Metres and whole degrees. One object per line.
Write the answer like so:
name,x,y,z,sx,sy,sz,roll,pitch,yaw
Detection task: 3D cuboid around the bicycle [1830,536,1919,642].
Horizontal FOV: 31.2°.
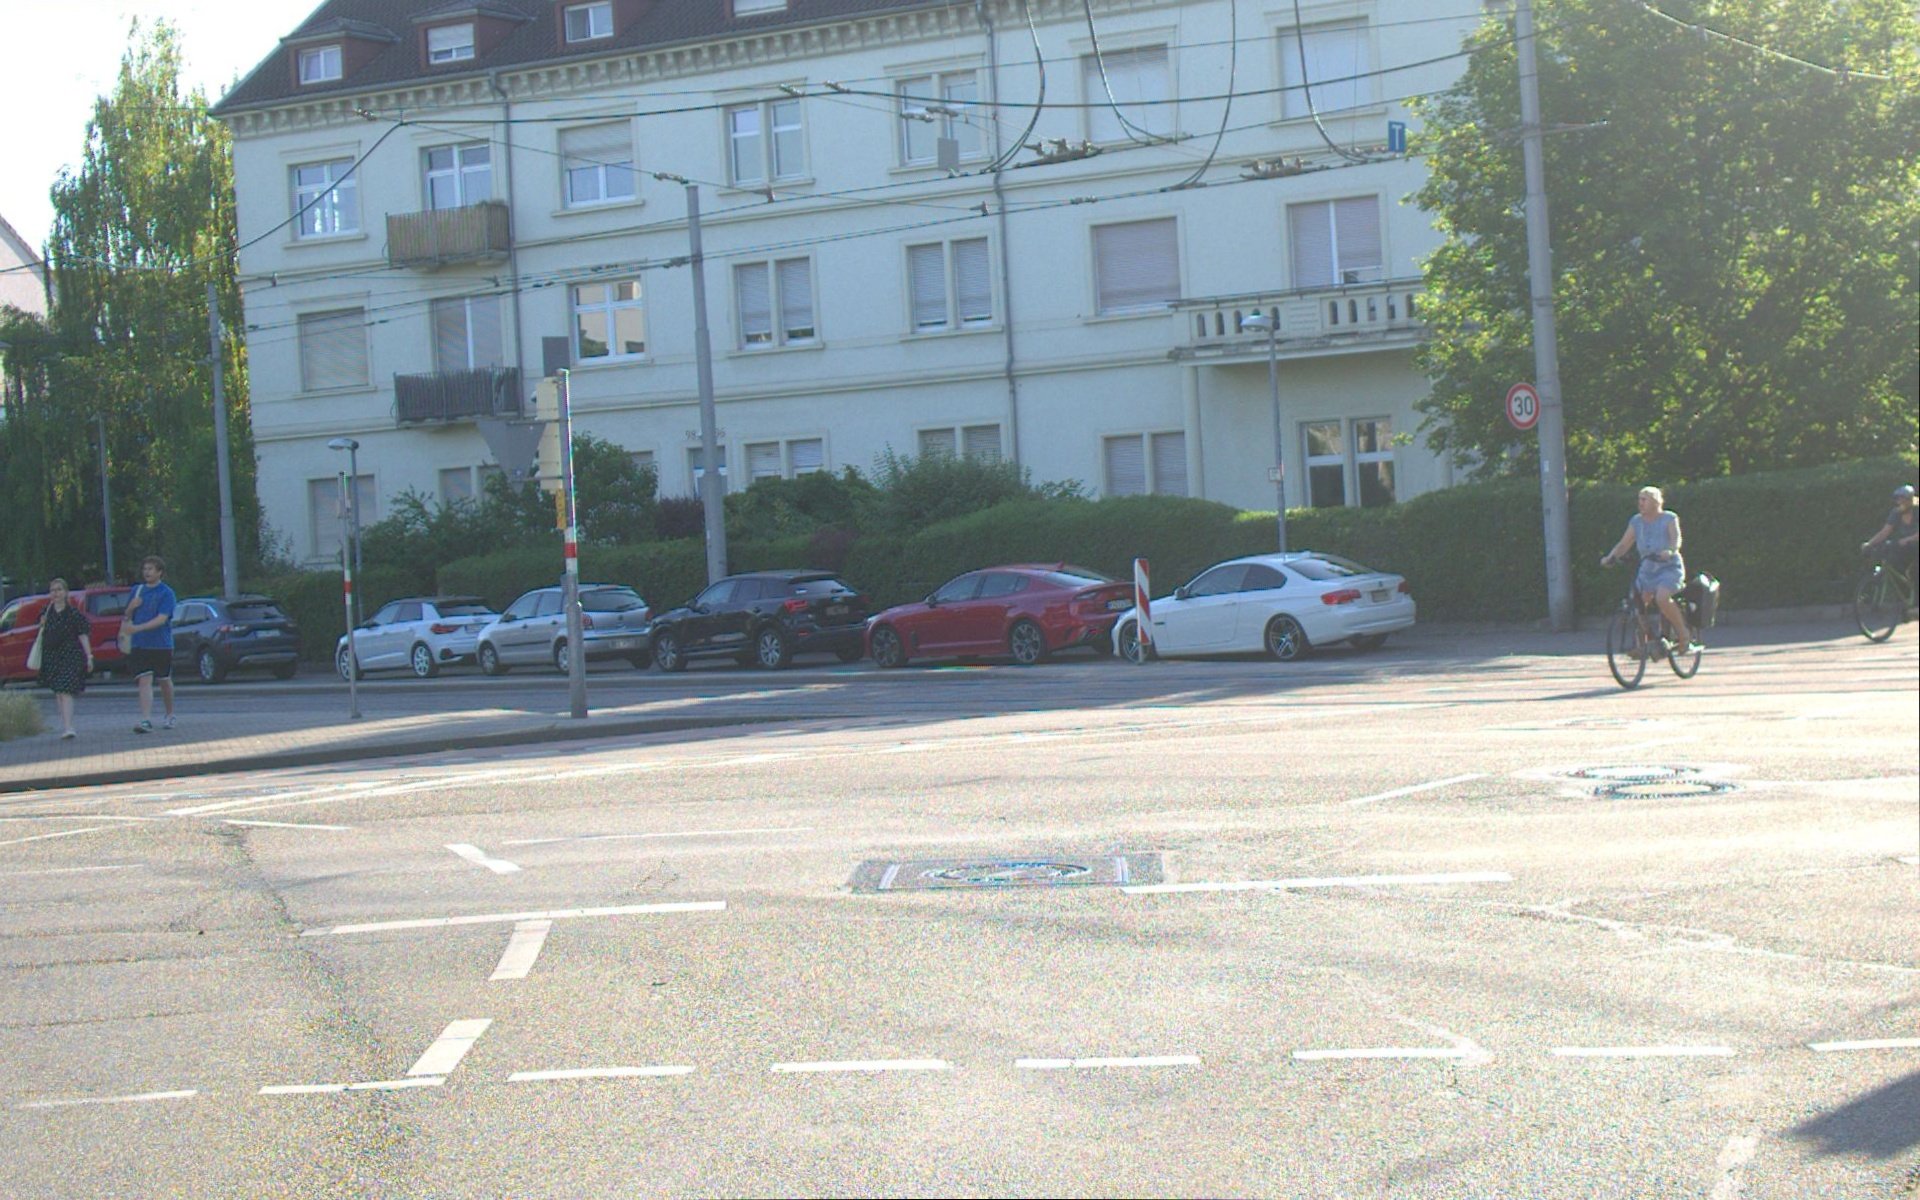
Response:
bicycle,10.236,-0.139,37.059,2.014,1.065,0.663,-4,1,-44

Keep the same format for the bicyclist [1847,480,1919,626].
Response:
bicyclist,10.145,-0.520,36.993,0.660,1.526,1.035,-2,1,45

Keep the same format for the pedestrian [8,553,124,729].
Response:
pedestrian,-9.272,0.414,35.691,0.911,1.741,1.068,-3,1,-5

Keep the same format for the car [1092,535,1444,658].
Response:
car,4.083,-0.030,46.126,1.926,1.371,4.494,-7,3,-42

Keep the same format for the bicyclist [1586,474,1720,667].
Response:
bicyclist,5.966,-0.255,29.584,0.776,1.600,0.856,-2,1,35

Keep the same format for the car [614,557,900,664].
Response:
car,-3.268,0.182,54.632,1.982,1.442,4.703,-7,3,-41

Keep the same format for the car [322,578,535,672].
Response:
car,-9.517,0.457,61.373,1.840,1.442,3.957,-7,3,-41

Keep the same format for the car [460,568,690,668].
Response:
car,-6.503,0.315,57.879,1.982,1.442,3.717,-7,3,-41

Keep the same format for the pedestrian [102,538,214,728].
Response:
pedestrian,-8.451,0.338,36.270,0.911,1.918,1.068,-3,1,-5

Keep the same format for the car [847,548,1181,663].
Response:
car,0.743,0.096,50.122,4.702,1.371,1.982,-2,3,44

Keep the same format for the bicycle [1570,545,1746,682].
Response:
bicycle,6.013,0.104,29.531,0.663,1.065,2.015,-2,1,36

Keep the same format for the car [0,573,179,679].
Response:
car,-18.655,0.569,72.251,2.051,1.955,5.148,-7,3,-41

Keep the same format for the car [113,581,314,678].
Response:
car,-14.619,0.588,67.210,1.840,1.662,4.368,-7,3,-41
